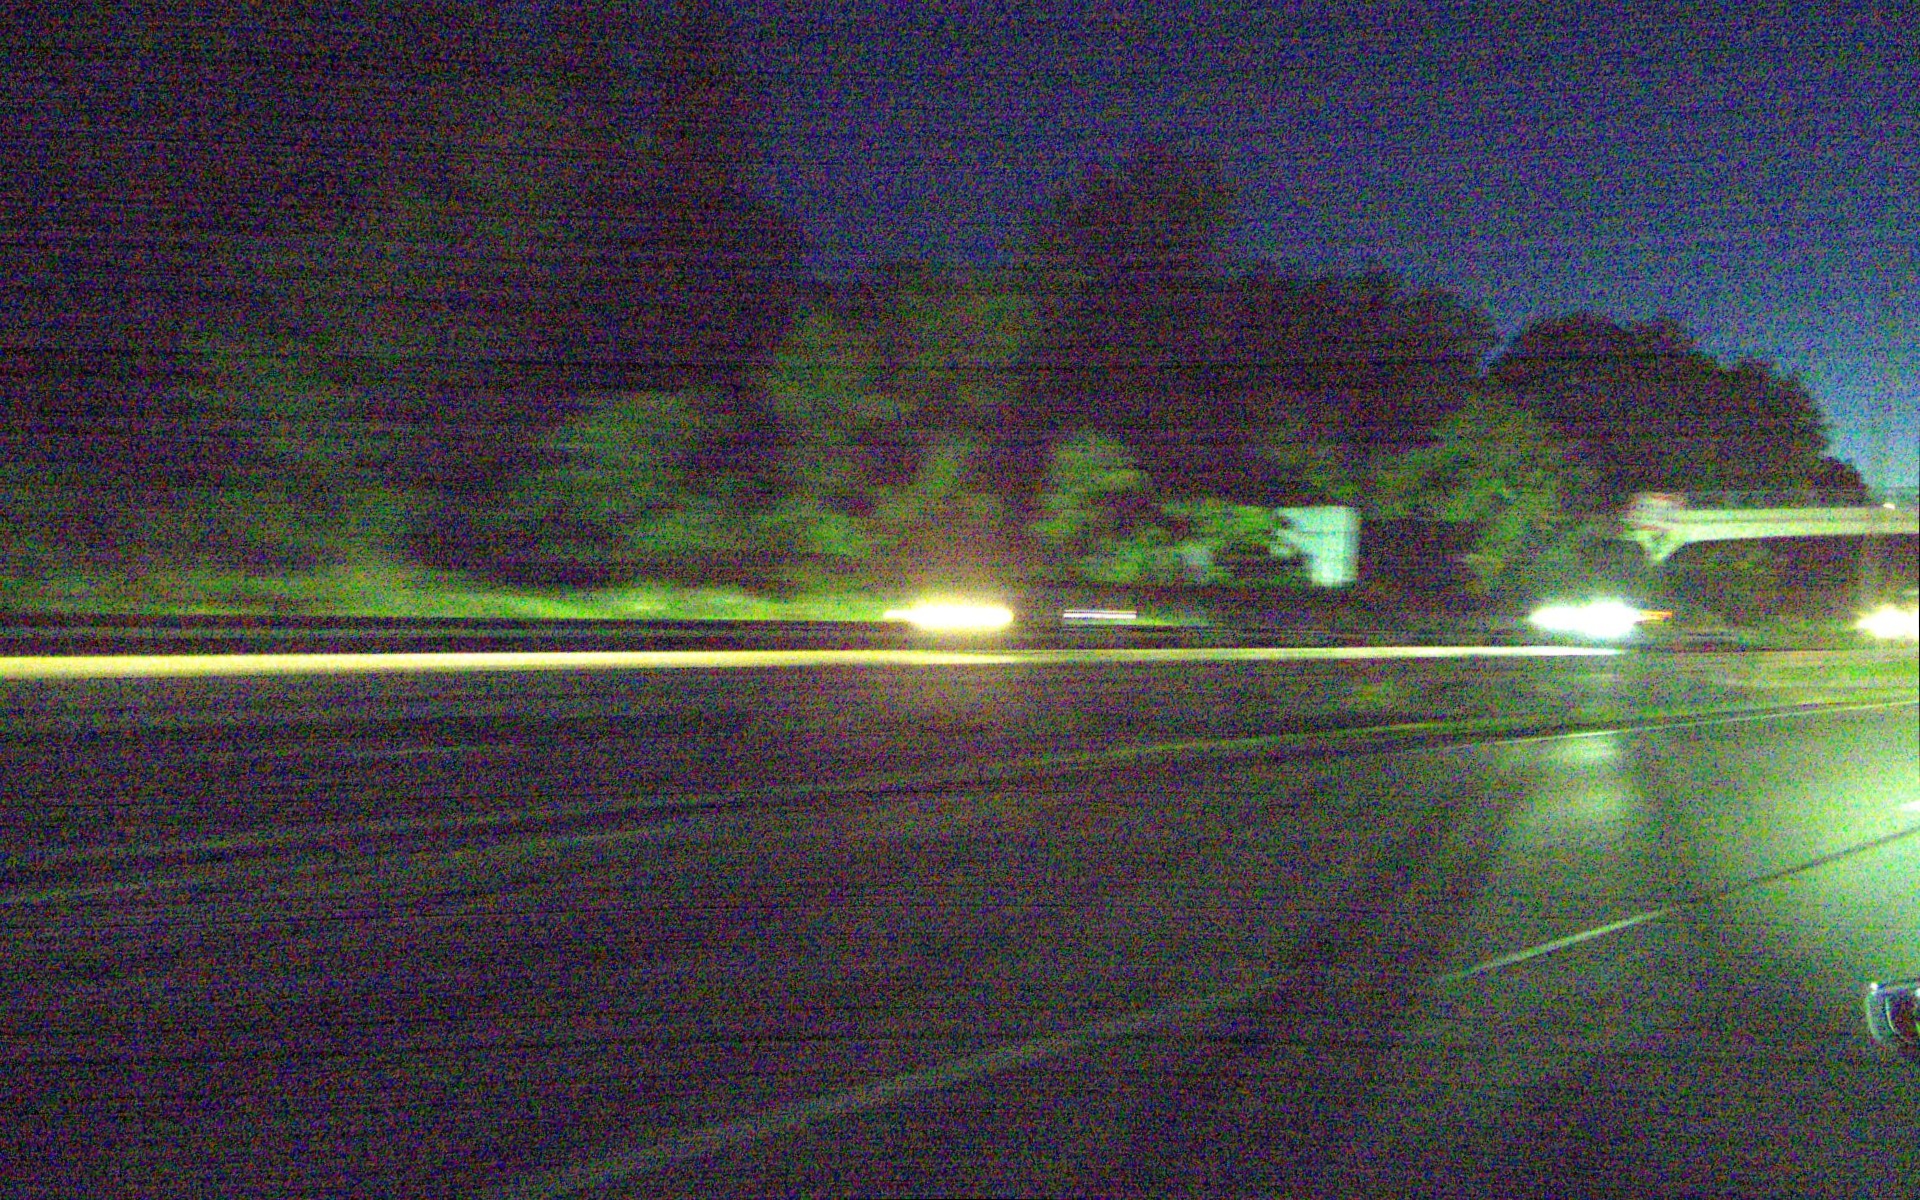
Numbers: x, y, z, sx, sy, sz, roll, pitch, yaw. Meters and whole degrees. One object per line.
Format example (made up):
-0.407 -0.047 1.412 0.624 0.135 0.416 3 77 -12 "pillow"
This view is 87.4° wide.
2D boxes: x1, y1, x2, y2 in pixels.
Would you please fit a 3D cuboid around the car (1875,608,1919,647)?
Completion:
54.202 1.567 57.058 4.986 2.041 2.344 1 1 -37 "car"

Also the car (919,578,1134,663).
1.389 0.400 20.335 4.115 1.537 1.717 1 1 -34 "car"

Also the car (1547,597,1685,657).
21.633 0.876 33.067 4.979 1.787 1.955 1 1 -34 "car"
